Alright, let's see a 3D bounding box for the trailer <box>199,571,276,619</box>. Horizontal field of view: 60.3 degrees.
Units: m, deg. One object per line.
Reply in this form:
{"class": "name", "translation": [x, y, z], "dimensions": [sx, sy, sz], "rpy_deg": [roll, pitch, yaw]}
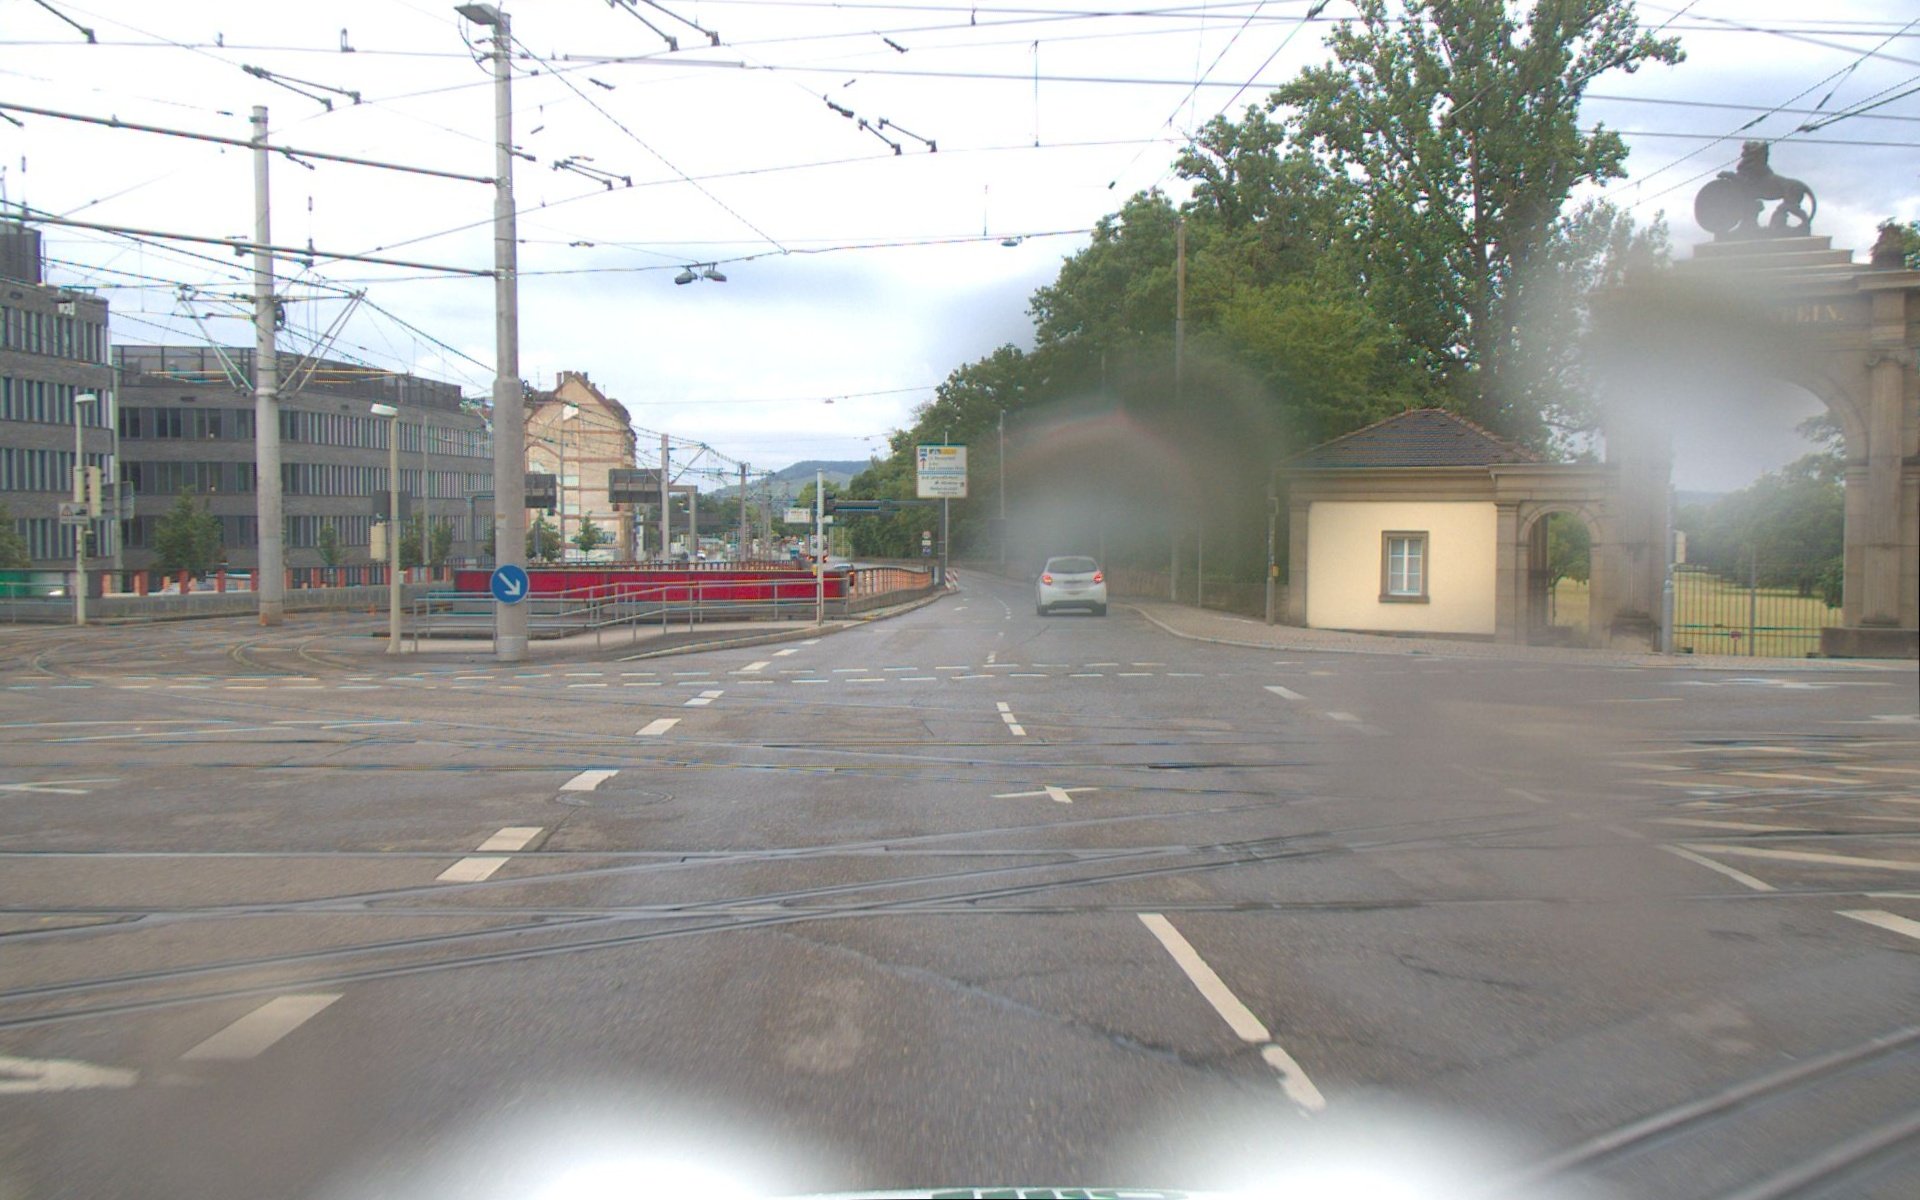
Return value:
{"class": "trailer", "translation": [-34.510, -0.209, 79.083], "dimensions": [1.788, 2.111, 4.274], "rpy_deg": [0, -2, 0]}

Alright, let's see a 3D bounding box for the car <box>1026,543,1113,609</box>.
{"class": "car", "translation": [2.733, -0.567, 42.178], "dimensions": [1.915, 1.514, 3.999], "rpy_deg": [0, -2, -1]}

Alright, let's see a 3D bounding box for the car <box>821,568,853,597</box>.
{"class": "car", "translation": [-8.609, -1.205, 115.366], "dimensions": [1.956, 1.905, 3.993], "rpy_deg": [-1, 1, -8]}

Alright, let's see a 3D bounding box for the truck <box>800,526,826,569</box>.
{"class": "truck", "translation": [-21.151, -7.457, 236.859], "dimensions": [3.398, 5.496, 12.033], "rpy_deg": [0, -2, -6]}
